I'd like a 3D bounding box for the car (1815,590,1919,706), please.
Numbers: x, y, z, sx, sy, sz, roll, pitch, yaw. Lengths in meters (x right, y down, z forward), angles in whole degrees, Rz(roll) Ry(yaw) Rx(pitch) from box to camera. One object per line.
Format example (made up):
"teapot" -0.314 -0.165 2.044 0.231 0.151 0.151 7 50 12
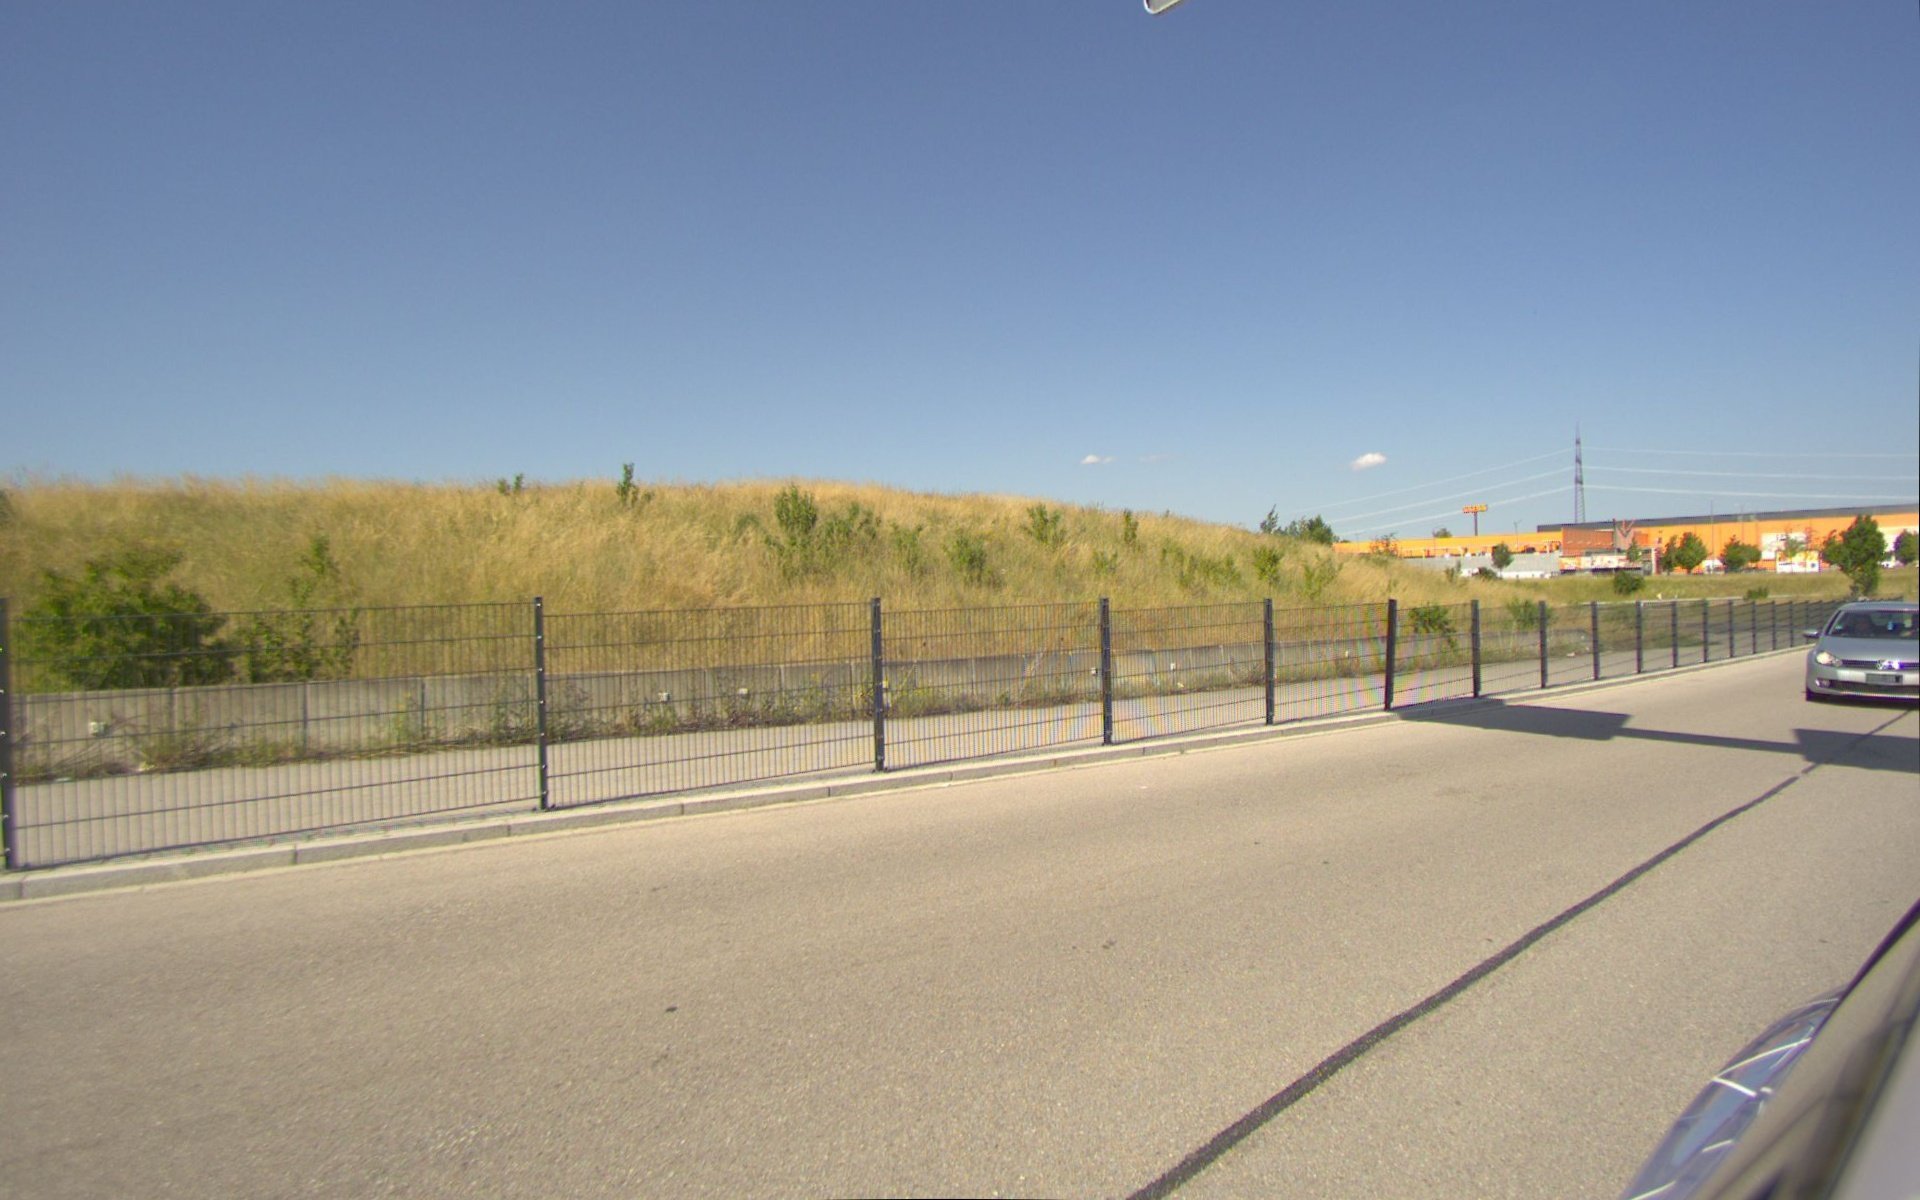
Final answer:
"car" 14.059 0.628 14.939 3.894 1.486 1.744 -1 2 -43

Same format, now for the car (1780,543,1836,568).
"car" 93.194 -4.867 111.264 4.620 2.581 1.969 -2 -1 44

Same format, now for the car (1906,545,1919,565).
"car" 100.221 -4.704 103.830 4.620 2.039 1.969 -2 0 44
